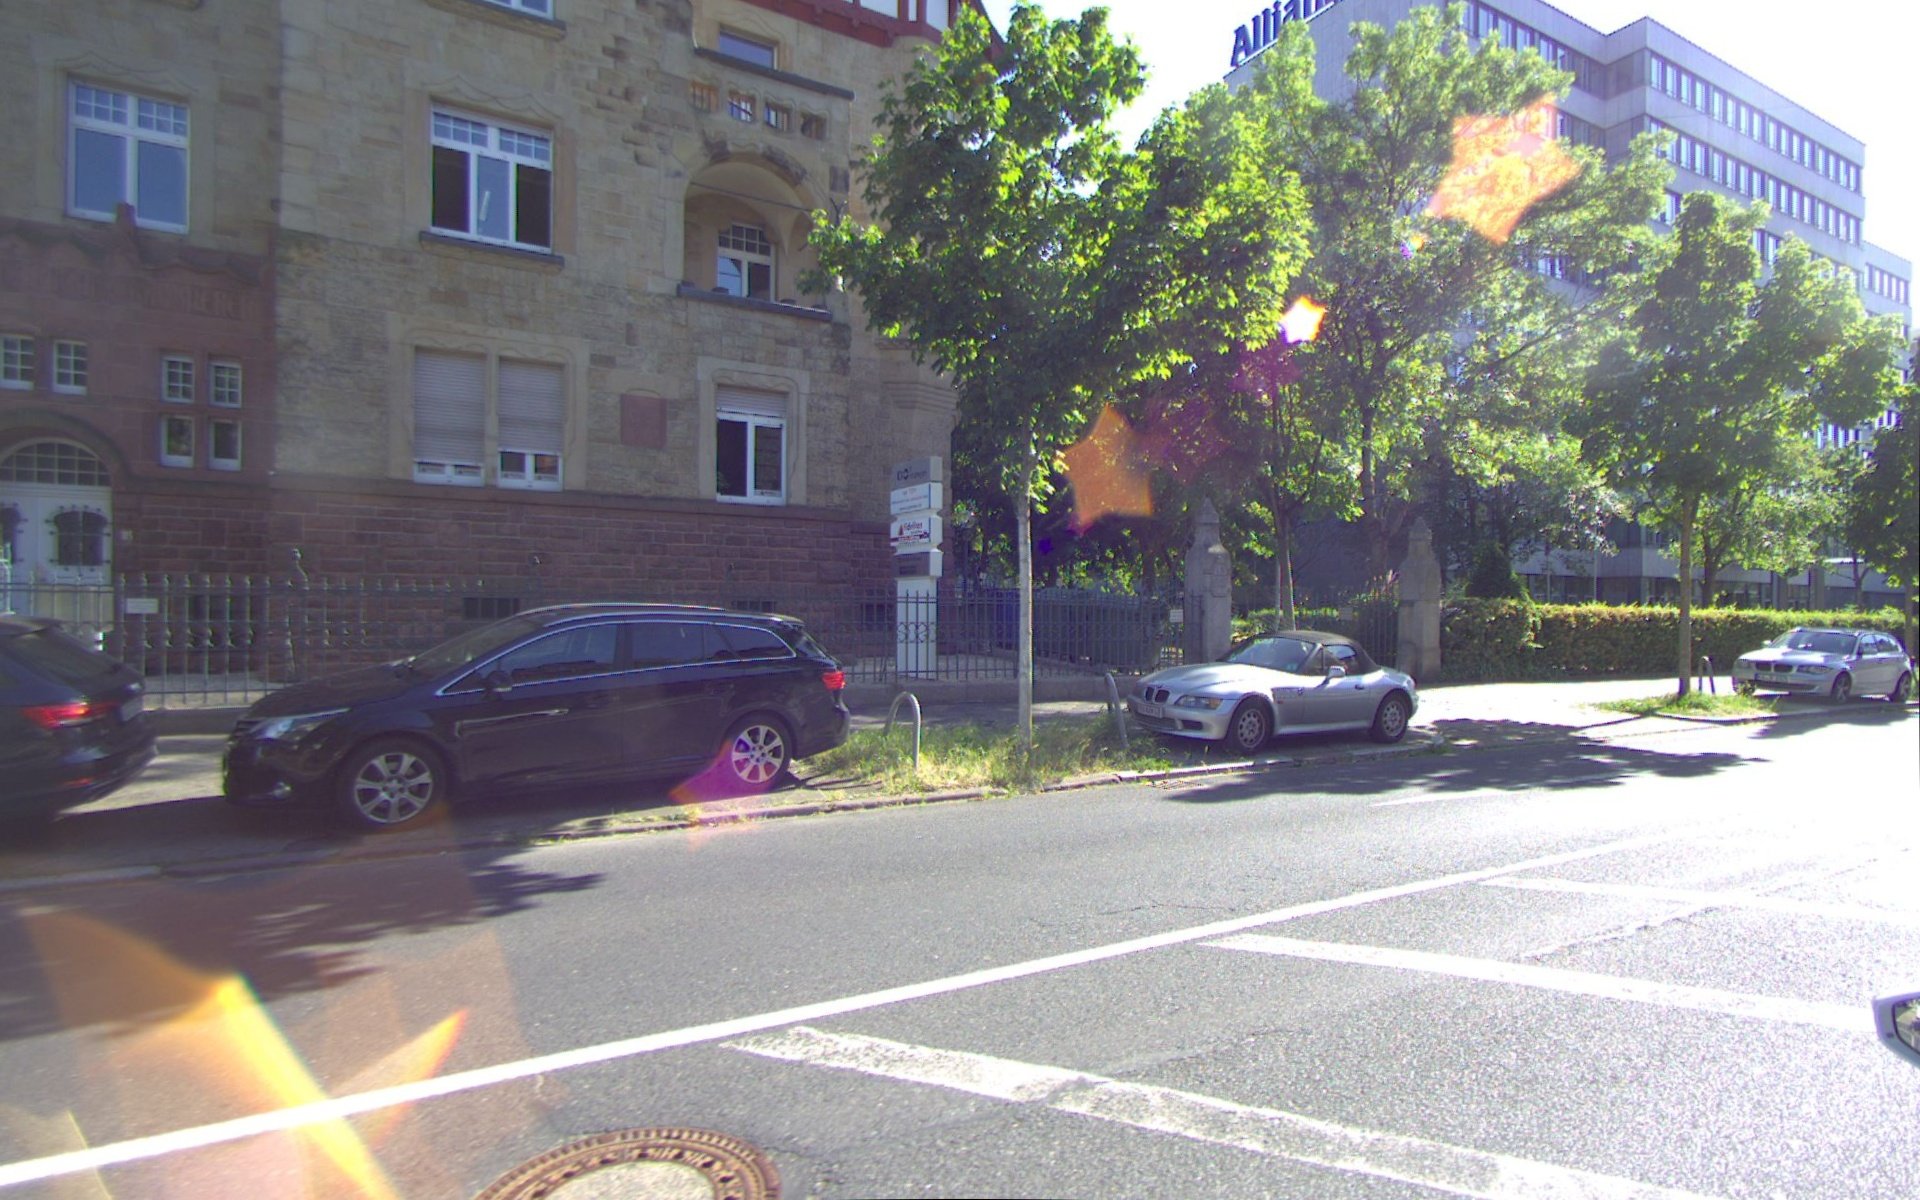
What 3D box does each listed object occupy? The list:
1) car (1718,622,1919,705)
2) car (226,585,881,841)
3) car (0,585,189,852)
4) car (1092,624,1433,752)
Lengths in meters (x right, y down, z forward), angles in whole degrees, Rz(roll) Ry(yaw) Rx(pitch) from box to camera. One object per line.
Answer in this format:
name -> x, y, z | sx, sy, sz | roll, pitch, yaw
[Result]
car -> 17.280, 1.217, 20.151 | 4.138, 1.402, 1.681 | 1, 3, -28
car -> -3.141, 0.723, 8.300 | 4.659, 1.514, 1.843 | 1, 2, -36
car -> -7.476, 0.651, 5.714 | 4.664, 1.447, 1.847 | 1, 3, -30
car -> 3.683, 0.959, 12.085 | 3.967, 1.272, 1.670 | 1, 0, -30
